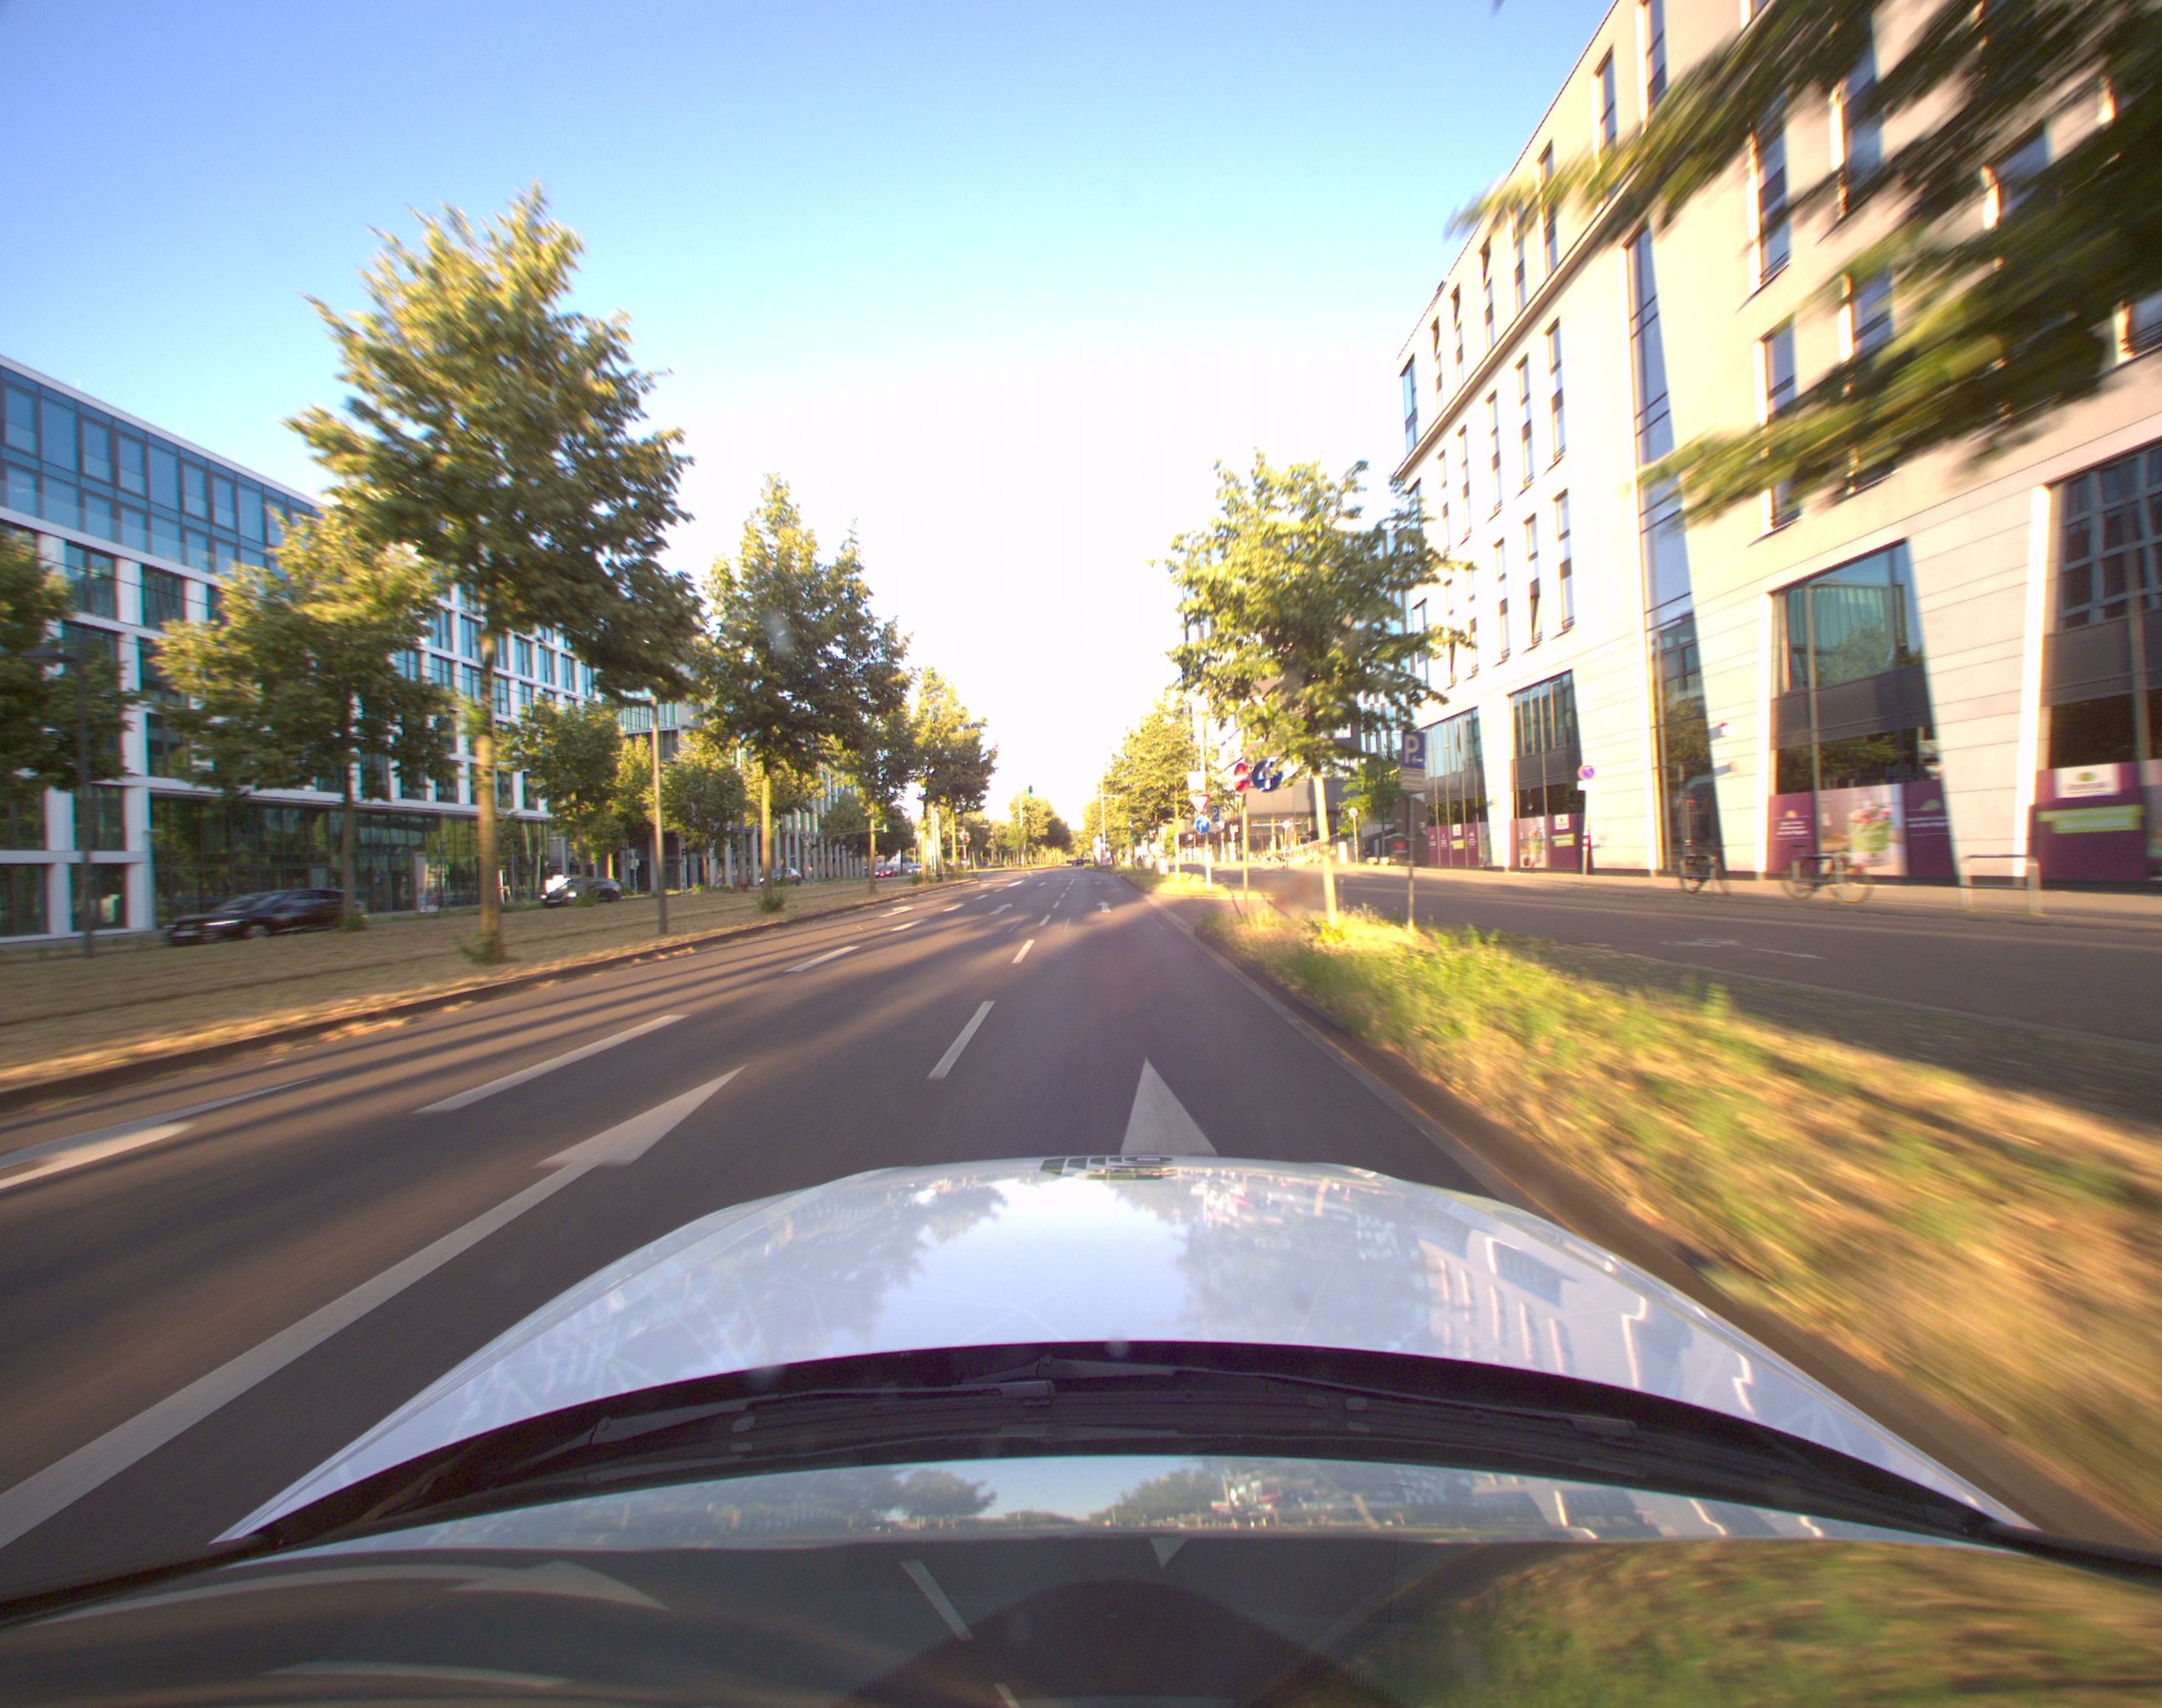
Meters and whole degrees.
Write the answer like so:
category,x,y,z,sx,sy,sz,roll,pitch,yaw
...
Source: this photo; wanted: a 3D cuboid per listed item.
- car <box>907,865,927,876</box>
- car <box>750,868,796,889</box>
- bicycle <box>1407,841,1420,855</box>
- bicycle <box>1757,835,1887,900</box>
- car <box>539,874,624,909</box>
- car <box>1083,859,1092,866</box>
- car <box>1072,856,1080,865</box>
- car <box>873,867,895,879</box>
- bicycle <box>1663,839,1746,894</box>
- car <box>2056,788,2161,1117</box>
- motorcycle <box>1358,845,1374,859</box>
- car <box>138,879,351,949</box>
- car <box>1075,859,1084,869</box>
category,x,y,z,sx,sy,sz,roll,pitch,yaw
car,-20.921,2.089,104.175,1.782,1.332,3.670,-3,0,-1
car,-22.325,1.755,59.189,1.652,1.332,4.582,-2,0,-1
bicycle,26.501,-0.469,64.920,0.564,1.052,1.773,-3,0,10
bicycle,13.237,0.235,14.628,0.516,1.061,1.961,-5,-1,2
car,-24.844,1.839,40.705,1.652,1.502,4.188,-2,0,-1
car,1.636,2.078,202.168,1.865,1.574,3.678,-2,0,2
car,-1.304,1.636,206.562,2.081,2.013,3.999,-2,0,0
car,-24.348,2.307,101.000,1.652,1.332,4.525,-2,0,-1
bicycle,13.267,0.249,17.389,0.444,1.072,1.776,-5,0,5
car,5.855,0.435,2.042,1.718,1.529,4.268,-1,0,0
motorcycle,23.257,-0.179,66.540,0.647,1.094,2.336,-3,0,6
car,-22.163,1.523,21.819,1.797,1.547,3.726,-2,0,-1
car,-0.335,2.104,178.673,1.987,2.013,3.999,-2,0,0
